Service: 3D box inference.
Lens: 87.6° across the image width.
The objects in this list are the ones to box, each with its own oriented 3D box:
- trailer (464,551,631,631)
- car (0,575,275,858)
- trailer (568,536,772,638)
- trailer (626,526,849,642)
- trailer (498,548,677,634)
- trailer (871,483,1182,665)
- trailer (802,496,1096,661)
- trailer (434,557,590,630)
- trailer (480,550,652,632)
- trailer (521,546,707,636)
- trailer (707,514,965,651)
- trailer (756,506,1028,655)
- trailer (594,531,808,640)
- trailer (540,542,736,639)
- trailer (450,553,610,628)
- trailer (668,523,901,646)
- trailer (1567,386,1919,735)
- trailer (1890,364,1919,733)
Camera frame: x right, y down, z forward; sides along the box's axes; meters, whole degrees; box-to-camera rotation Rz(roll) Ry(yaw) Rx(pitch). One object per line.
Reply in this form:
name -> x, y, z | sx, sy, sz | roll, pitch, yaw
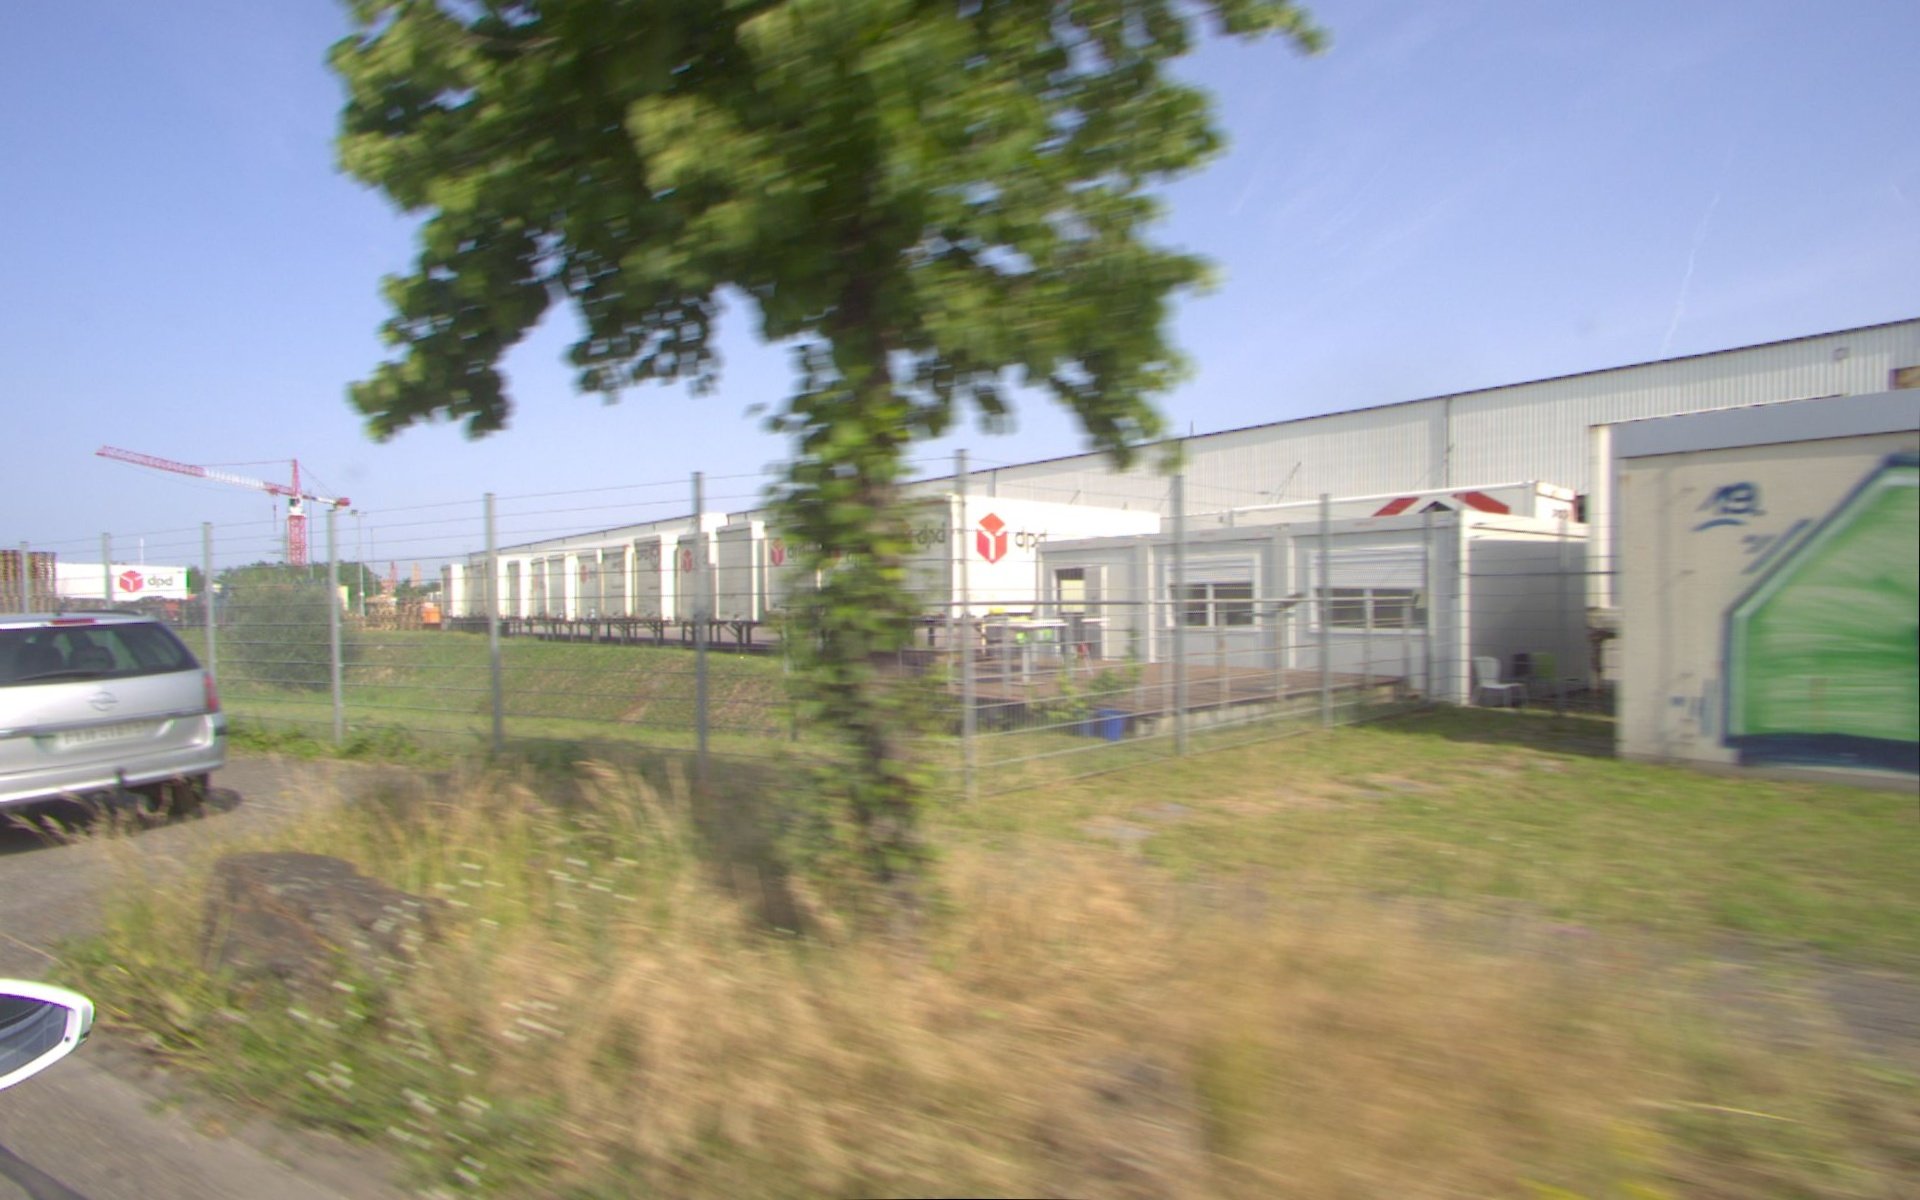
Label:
trailer -> -22.304, -0.384, 54.431 | 7.908, 3.944, 2.749 | 2, 0, -42
car -> -7.302, 0.687, 7.484 | 4.381, 1.648, 1.796 | 0, 2, 29
trailer -> -12.188, -0.409, 42.684 | 7.908, 3.944, 2.749 | 2, 0, -42
trailer -> -8.243, -0.457, 37.922 | 7.908, 3.944, 2.749 | 2, 0, -42
trailer -> -18.573, -0.326, 50.296 | 7.908, 3.944, 2.749 | 2, 0, -42
trailer -> 1.979, -0.444, 25.573 | 8.478, 3.944, 2.749 | 2, 0, -42
trailer -> -0.040, -0.399, 27.888 | 8.478, 3.944, 2.749 | 2, 0, -42
trailer -> -26.325, -0.292, 59.102 | 7.908, 3.944, 2.717 | 2, 0, -42
trailer -> -20.457, -0.353, 52.349 | 7.908, 3.944, 2.749 | 2, 0, -42
trailer -> -16.405, -0.329, 47.927 | 7.908, 3.944, 2.749 | 2, 0, -42
trailer -> -3.817, -0.392, 32.653 | 8.251, 3.944, 2.749 | 2, 0, -42
trailer -> -1.828, -0.415, 30.358 | 8.251, 3.944, 2.749 | 2, 0, -42
trailer -> -10.209, -0.424, 40.179 | 7.908, 3.944, 2.749 | 2, 0, -42
trailer -> -14.260, -0.292, 44.866 | 7.908, 3.944, 2.749 | 2, 0, -42
trailer -> -24.315, -0.450, 56.942 | 7.908, 3.944, 2.717 | 2, 0, -42
trailer -> -6.095, -0.397, 35.883 | 7.978, 3.944, 2.749 | 2, 0, -42
trailer -> 12.009, -0.384, 14.877 | 8.669, 3.810, 2.765 | 0, 0, -42
trailer -> 14.204, -0.627, 12.598 | 8.468, 3.946, 2.751 | -1, 1, -41
